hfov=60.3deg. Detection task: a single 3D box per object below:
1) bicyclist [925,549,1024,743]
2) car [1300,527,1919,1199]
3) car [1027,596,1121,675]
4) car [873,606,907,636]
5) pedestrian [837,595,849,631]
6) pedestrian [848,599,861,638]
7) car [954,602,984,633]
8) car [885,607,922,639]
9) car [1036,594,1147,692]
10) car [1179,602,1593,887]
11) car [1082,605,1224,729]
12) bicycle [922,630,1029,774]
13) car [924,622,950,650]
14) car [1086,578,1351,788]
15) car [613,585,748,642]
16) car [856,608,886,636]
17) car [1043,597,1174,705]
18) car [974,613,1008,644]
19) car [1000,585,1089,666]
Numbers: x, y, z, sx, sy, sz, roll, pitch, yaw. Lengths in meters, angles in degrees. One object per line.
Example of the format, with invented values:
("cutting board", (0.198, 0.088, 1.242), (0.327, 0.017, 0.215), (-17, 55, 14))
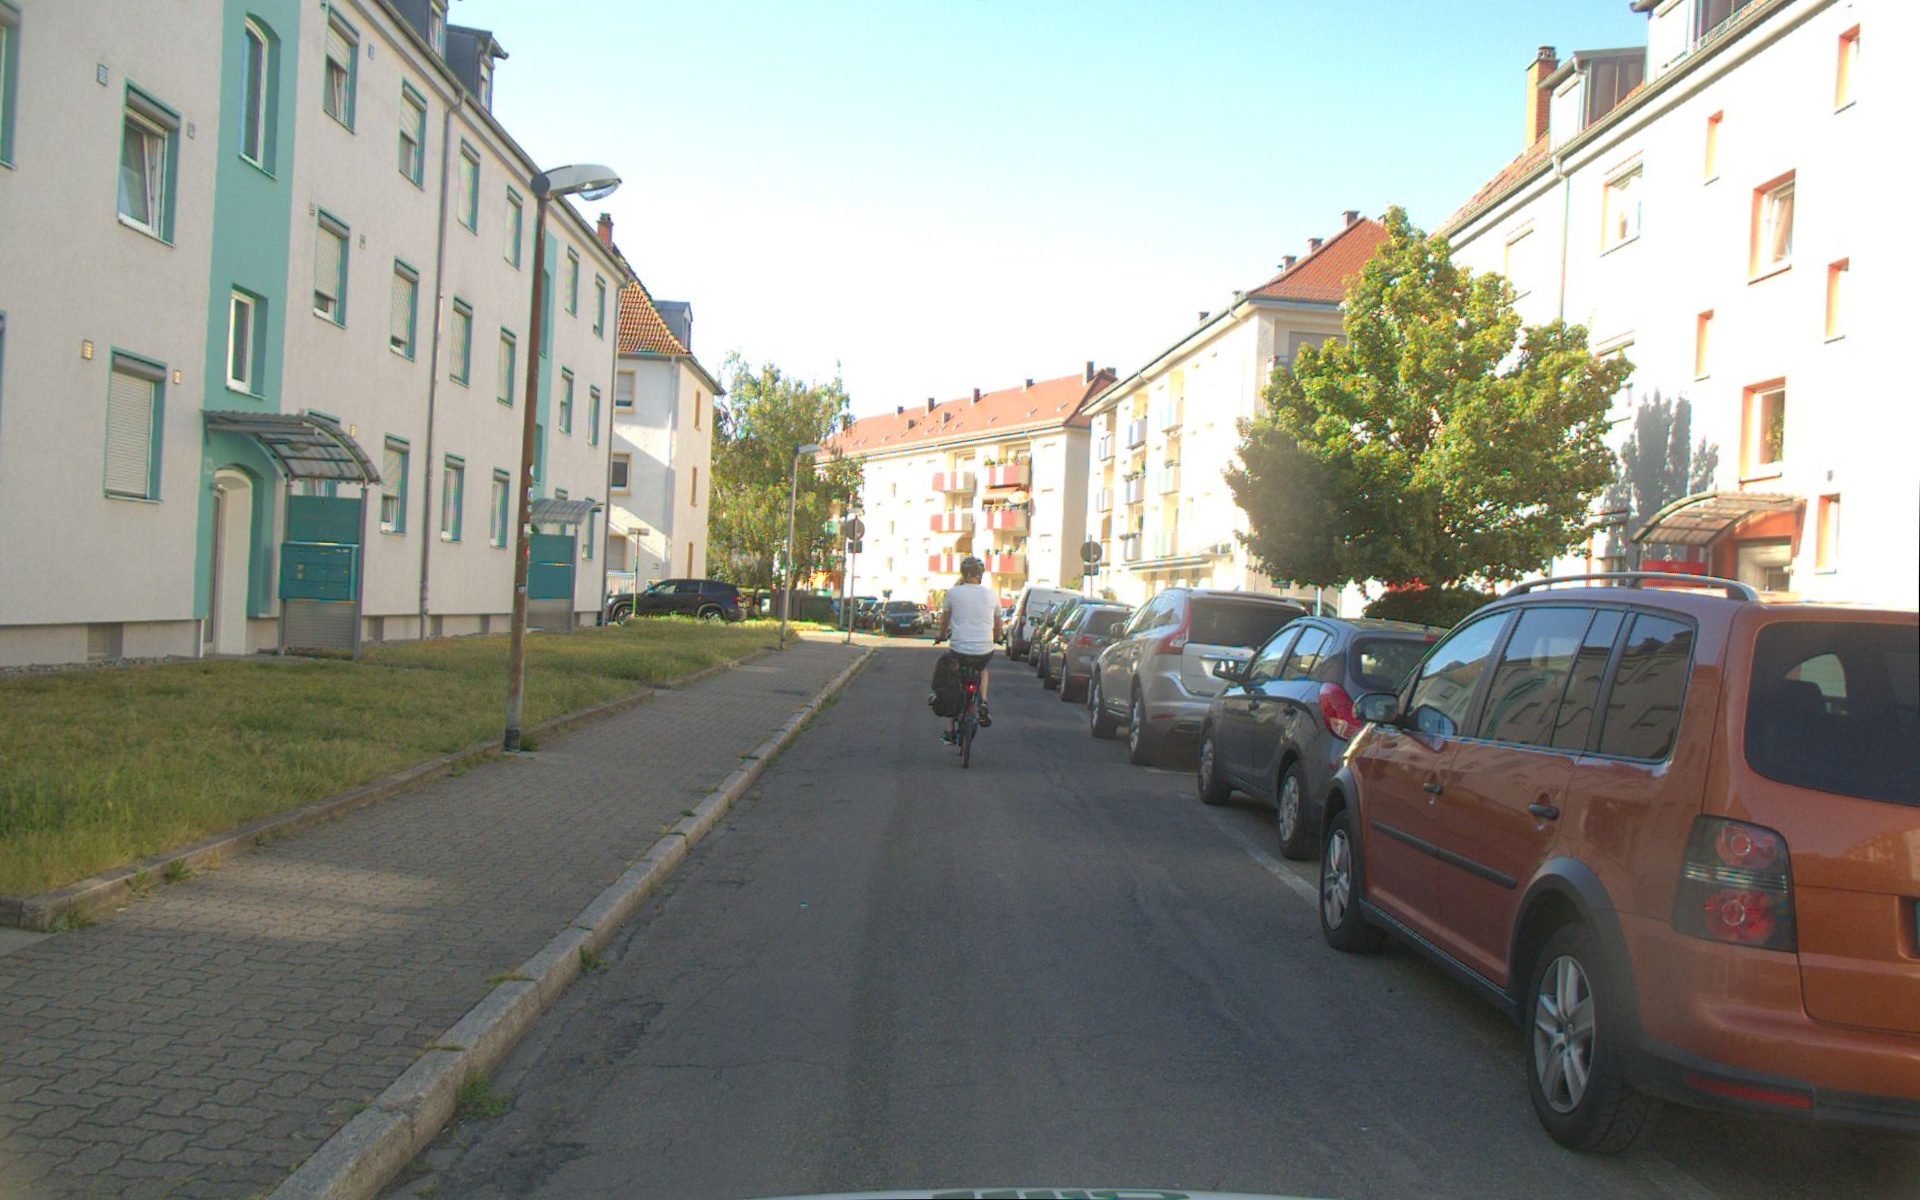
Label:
("bicyclist", (0.116, 0.404, 14.937), (0.792, 1.672, 0.898), (2, 0, -4))
("car", (2.666, 0.766, 5.944), (1.825, 1.697, 4.126), (6, 0, -1))
("car", (2.393, 0.720, 35.322), (1.528, 1.478, 3.364), (4, 0, -3))
("car", (-3.280, 0.963, 77.320), (1.441, 1.358, 3.137), (-1, 0, -5))
("pedestrian", (-4.877, 0.537, 68.949), (0.425, 1.452, 0.543), (3, 0, -1))
("pedestrian", (-4.399, 0.761, 69.055), (0.425, 1.601, 0.543), (3, 0, -1))
("car", (0.460, 0.936, 89.440), (1.354, 1.523, 3.075), (4, 0, -3))
("car", (-2.526, 1.000, 72.966), (1.441, 1.359, 3.137), (-1, 0, -6))
("car", (2.363, 0.740, 30.408), (1.528, 1.604, 3.364), (4, 0, -3))
("car", (2.737, 0.848, 11.533), (1.586, 1.485, 3.838), (5, 0, -4))
("car", (2.490, 0.831, 21.926), (1.363, 1.427, 3.243), (3, 0, -1))
("bicycle", (0.111, 0.880, 14.987), (0.792, 1.148, 2.100), (2, 0, -4))
("car", (-1.429, 2.182, 101.675), (1.440, 1.542, 3.075), (4, 0, -3))
("car", (2.411, 0.708, 16.525), (1.667, 1.699, 4.377), (4, 0, -3))
("car", (-9.095, 0.428, 54.057), (4.149, 1.667, 1.581), (2, 0, -5))
("car", (-4.513, 1.097, 83.936), (1.440, 1.358, 3.138), (-1, 0, -4))
("car", (2.236, 0.734, 25.776), (1.527, 1.436, 3.932), (4, 0, -1))
("car", (1.528, 1.418, 82.474), (1.440, 1.358, 3.139), (4, 0, -3))
("car", (1.996, 0.570, 39.910), (1.641, 1.769, 3.940), (4, 0, -3))
